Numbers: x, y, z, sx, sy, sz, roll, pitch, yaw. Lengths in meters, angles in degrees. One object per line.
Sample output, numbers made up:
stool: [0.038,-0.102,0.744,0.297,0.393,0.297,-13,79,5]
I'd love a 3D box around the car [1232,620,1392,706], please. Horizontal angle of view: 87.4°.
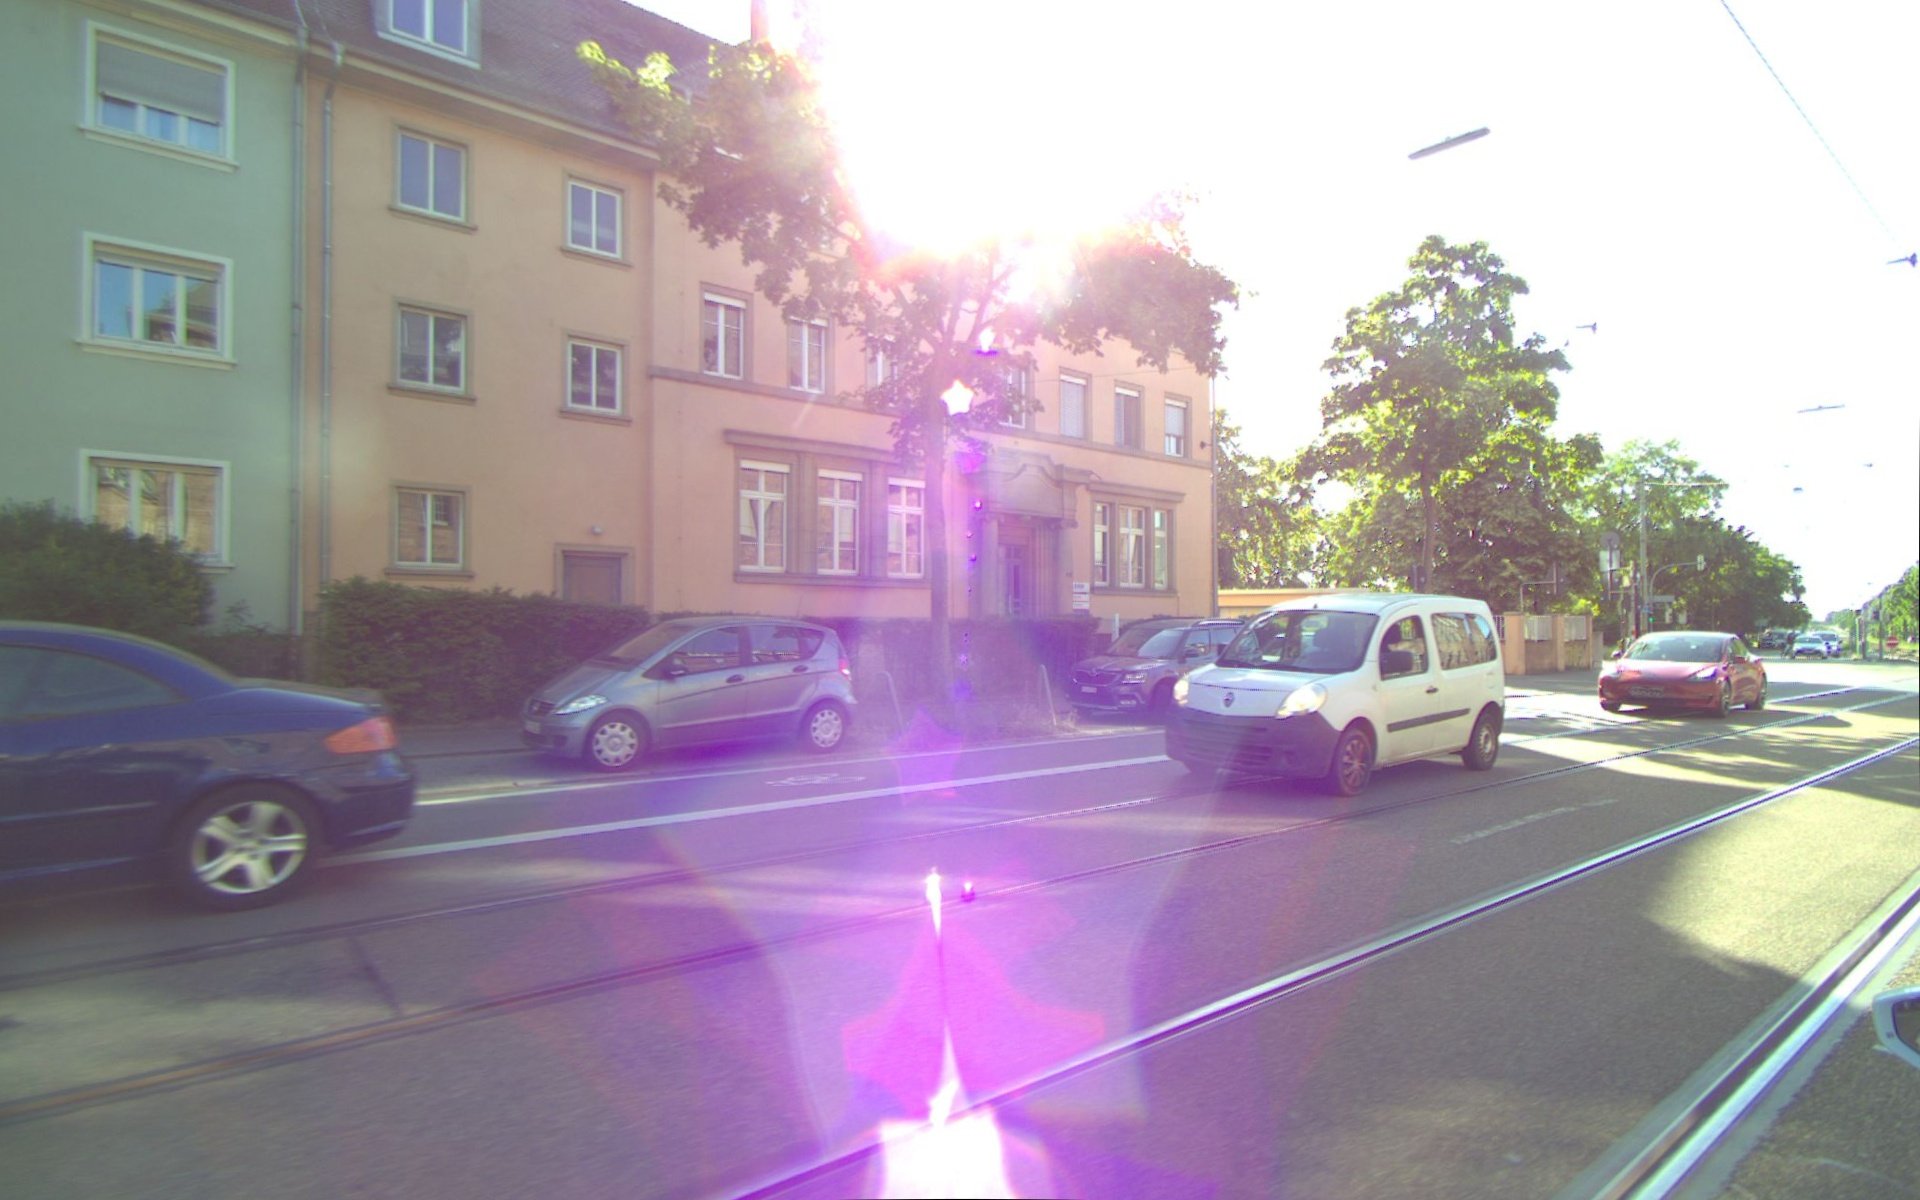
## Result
car: [7.173,1.205,20.336,3.588,1.508,1.566,1,1,-44]

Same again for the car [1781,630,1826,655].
car: [53.754,2.696,64.080,1.968,1.524,3.984,0,-1,37]

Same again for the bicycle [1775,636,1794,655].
bicycle: [50.875,2.791,61.977,0.739,1.102,2.169,0,-1,36]

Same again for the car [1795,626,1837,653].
car: [58.396,2.693,68.562,1.968,1.784,3.984,0,-1,37]

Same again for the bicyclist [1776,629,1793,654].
bicyclist: [50.832,2.561,61.922,0.739,1.524,0.961,0,-1,36]

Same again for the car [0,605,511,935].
car: [-4.772,0.731,4.882,4.406,1.405,1.794,2,-2,-41]

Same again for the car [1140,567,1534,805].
car: [3.959,0.749,10.180,4.403,1.913,1.795,2,-1,-39]

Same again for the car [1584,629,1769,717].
car: [13.362,1.261,18.623,4.653,1.405,1.903,2,-2,-43]

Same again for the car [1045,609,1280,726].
car: [3.567,1.055,17.171,4.361,1.682,1.728,2,1,-44]

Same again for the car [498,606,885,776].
car: [-3.016,0.933,11.782,4.039,1.590,1.729,2,1,-42]
